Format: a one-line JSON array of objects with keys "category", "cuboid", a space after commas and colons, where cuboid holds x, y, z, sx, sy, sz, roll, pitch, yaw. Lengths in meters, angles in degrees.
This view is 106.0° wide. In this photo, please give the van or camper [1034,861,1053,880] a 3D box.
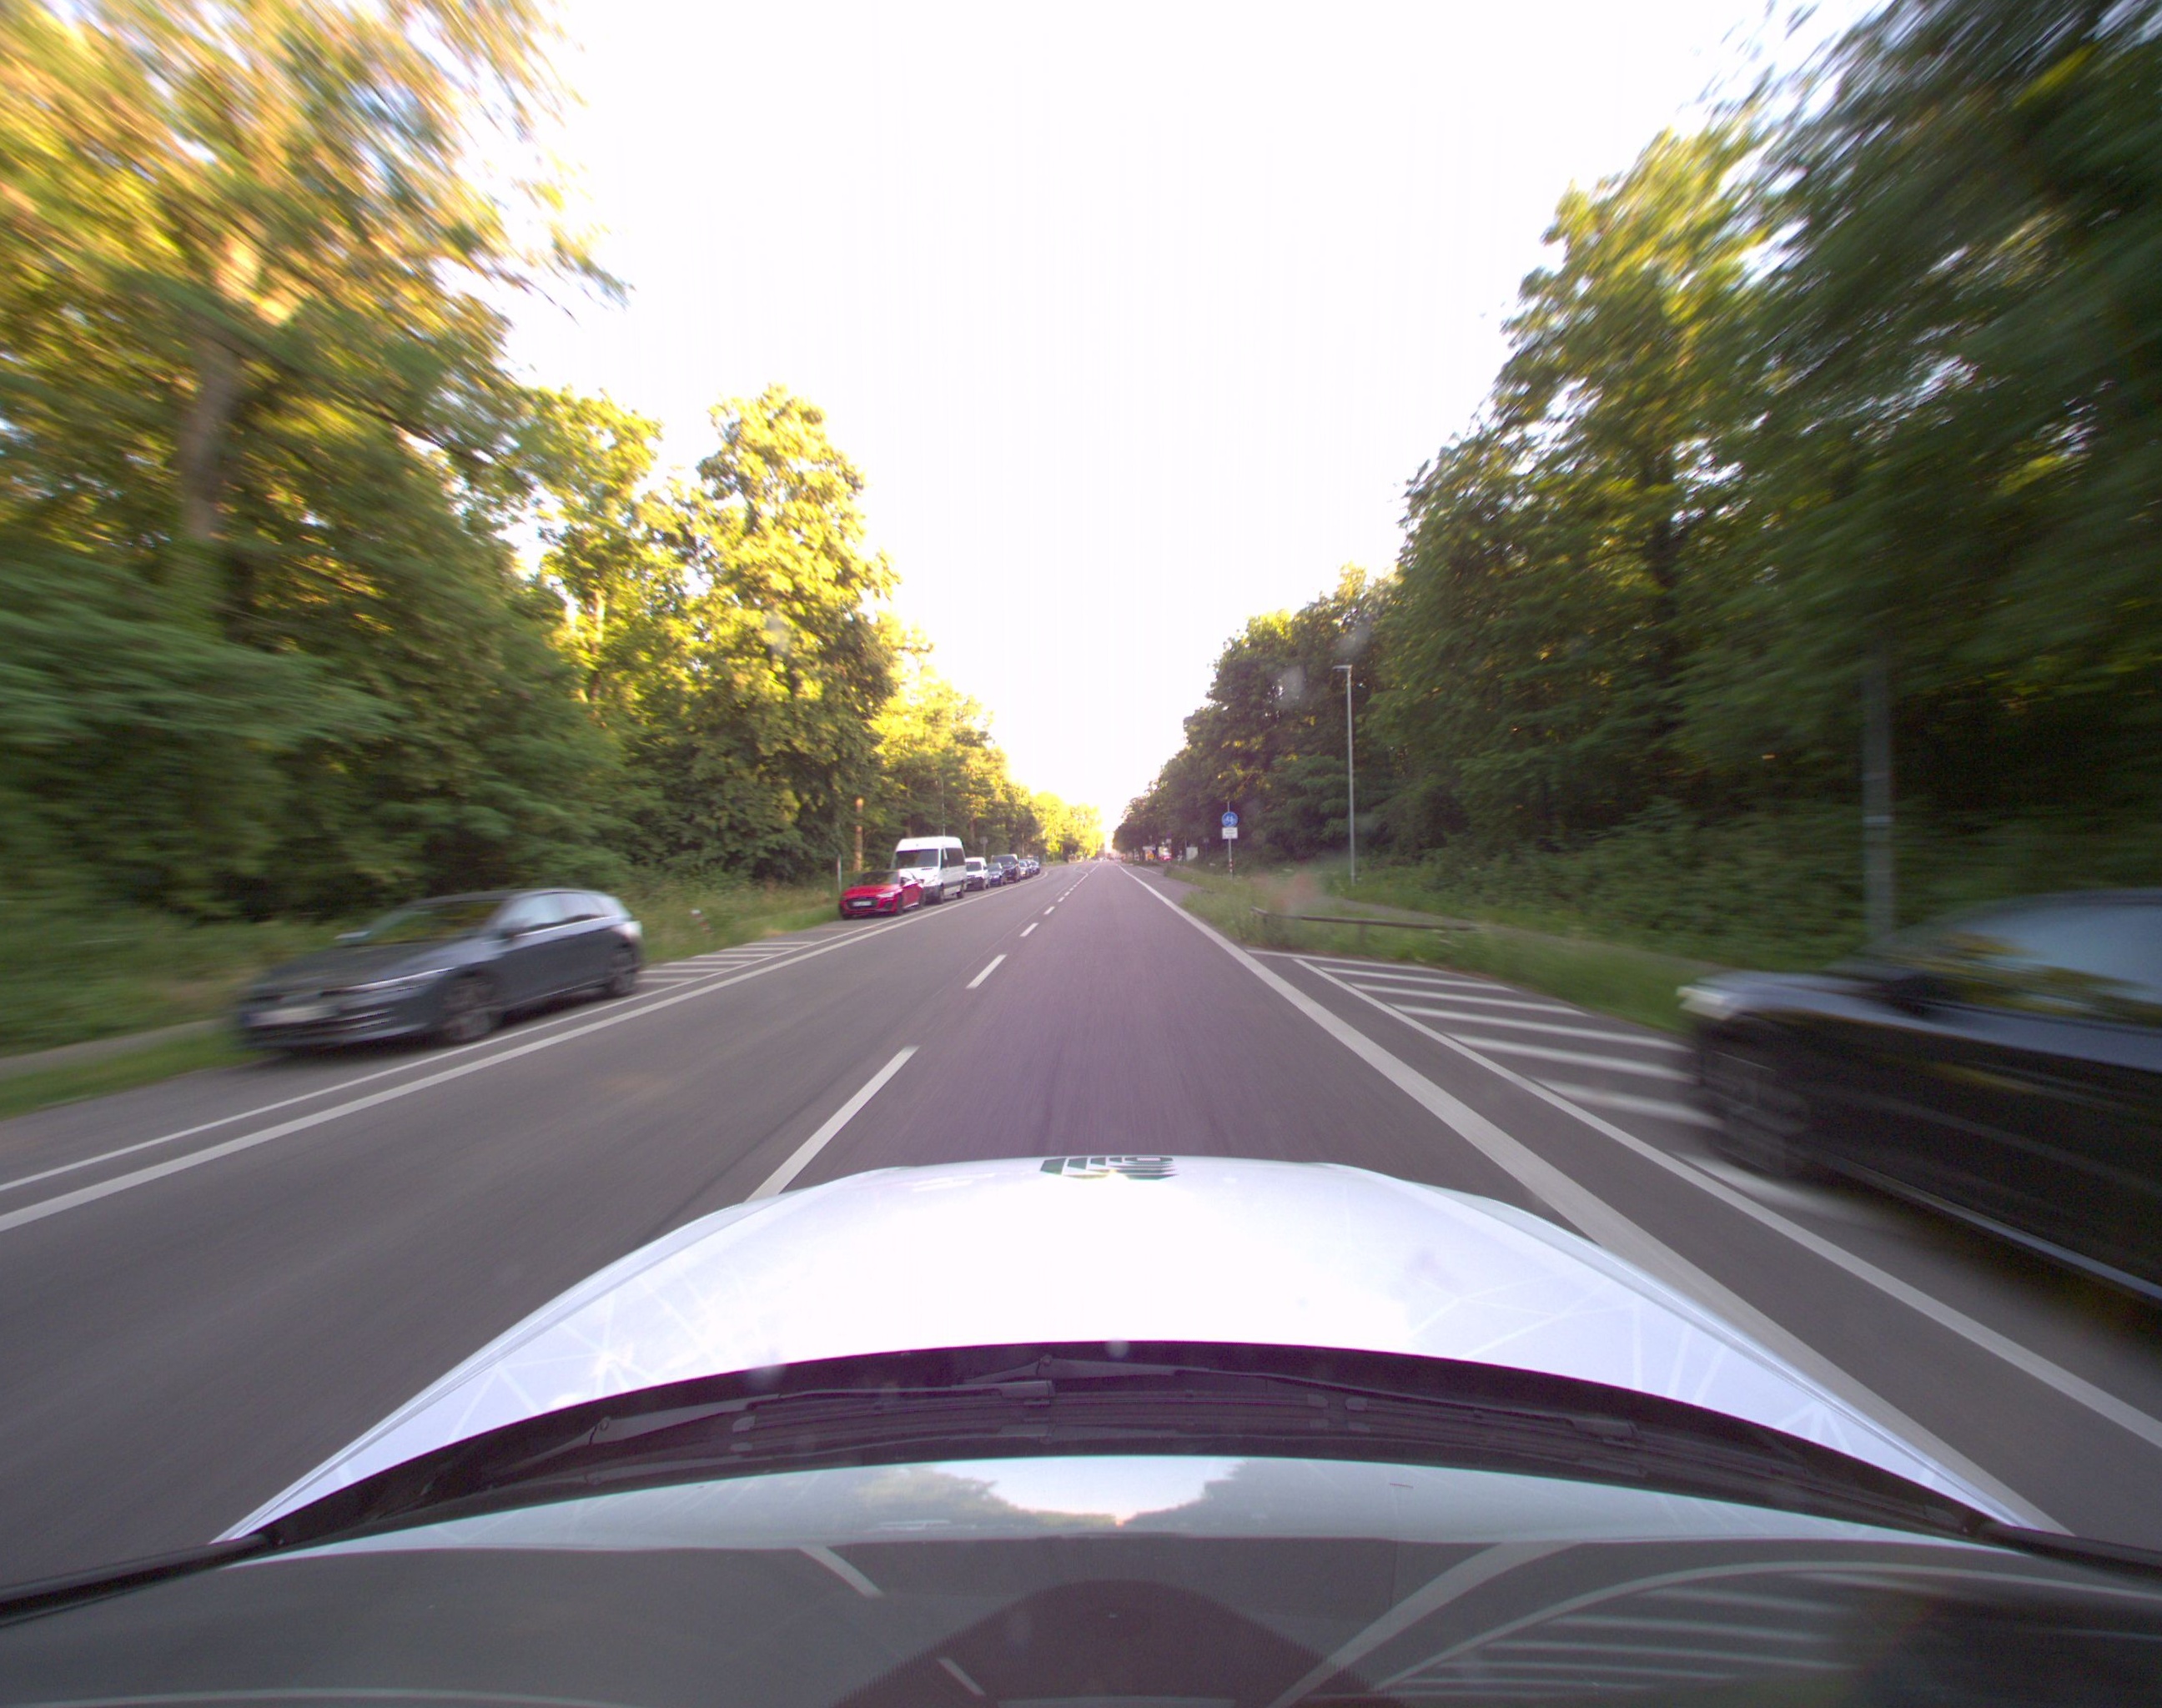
[{"category": "van or camper", "cuboid": [-4.386, 1.956, 96.647, 2.026, 2.094, 5.010, -3, -1, -2]}]

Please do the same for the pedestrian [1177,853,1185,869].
[{"category": "pedestrian", "cuboid": [11.098, 0.725, 90.565, 0.835, 1.751, 0.726, -1, -1, 2]}]

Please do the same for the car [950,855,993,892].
[{"category": "car", "cuboid": [-5.985, 1.030, 44.960, 1.683, 1.858, 4.385, -4, 0, -1]}]

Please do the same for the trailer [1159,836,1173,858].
[{"category": "trailer", "cuboid": [21.800, -1.797, 209.939, 3.008, 5.462, 7.940, -2, 0, 3]}]

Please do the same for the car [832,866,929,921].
[{"category": "car", "cuboid": [-6.202, 1.174, 25.704, 1.709, 1.430, 4.391, -3, 0, 3]}]

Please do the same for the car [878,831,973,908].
[{"category": "car", "cuboid": [-6.036, 0.563, 32.679, 2.071, 2.606, 7.091, -5, 0, 2]}]

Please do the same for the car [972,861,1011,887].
[{"category": "car", "cuboid": [-5.472, 1.216, 50.271, 1.663, 1.433, 4.448, -3, 0, 2]}]

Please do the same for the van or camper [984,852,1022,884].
[{"category": "van or camper", "cuboid": [-5.357, 0.939, 56.732, 1.996, 2.018, 5.460, -4, 0, 0]}]

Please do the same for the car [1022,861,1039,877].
[{"category": "car", "cuboid": [-5.269, 1.560, 85.333, 1.613, 1.534, 4.035, -3, -1, -3]}]

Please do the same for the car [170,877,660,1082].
[{"category": "car", "cuboid": [-6.667, 1.112, 8.942, 1.840, 1.462, 4.228, -4, 0, -1]}]

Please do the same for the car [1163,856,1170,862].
[{"category": "car", "cuboid": [20.651, 1.212, 197.075, 1.761, 1.583, 4.826, 0, -1, 6]}]

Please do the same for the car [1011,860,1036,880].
[{"category": "car", "cuboid": [-4.665, 1.306, 66.585, 1.663, 1.501, 4.245, -3, 0, 0]}]

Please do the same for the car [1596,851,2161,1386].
[{"category": "car", "cuboid": [3.830, 0.725, 2.726, 1.704, 1.444, 4.124, -1, 0, 2]}]
